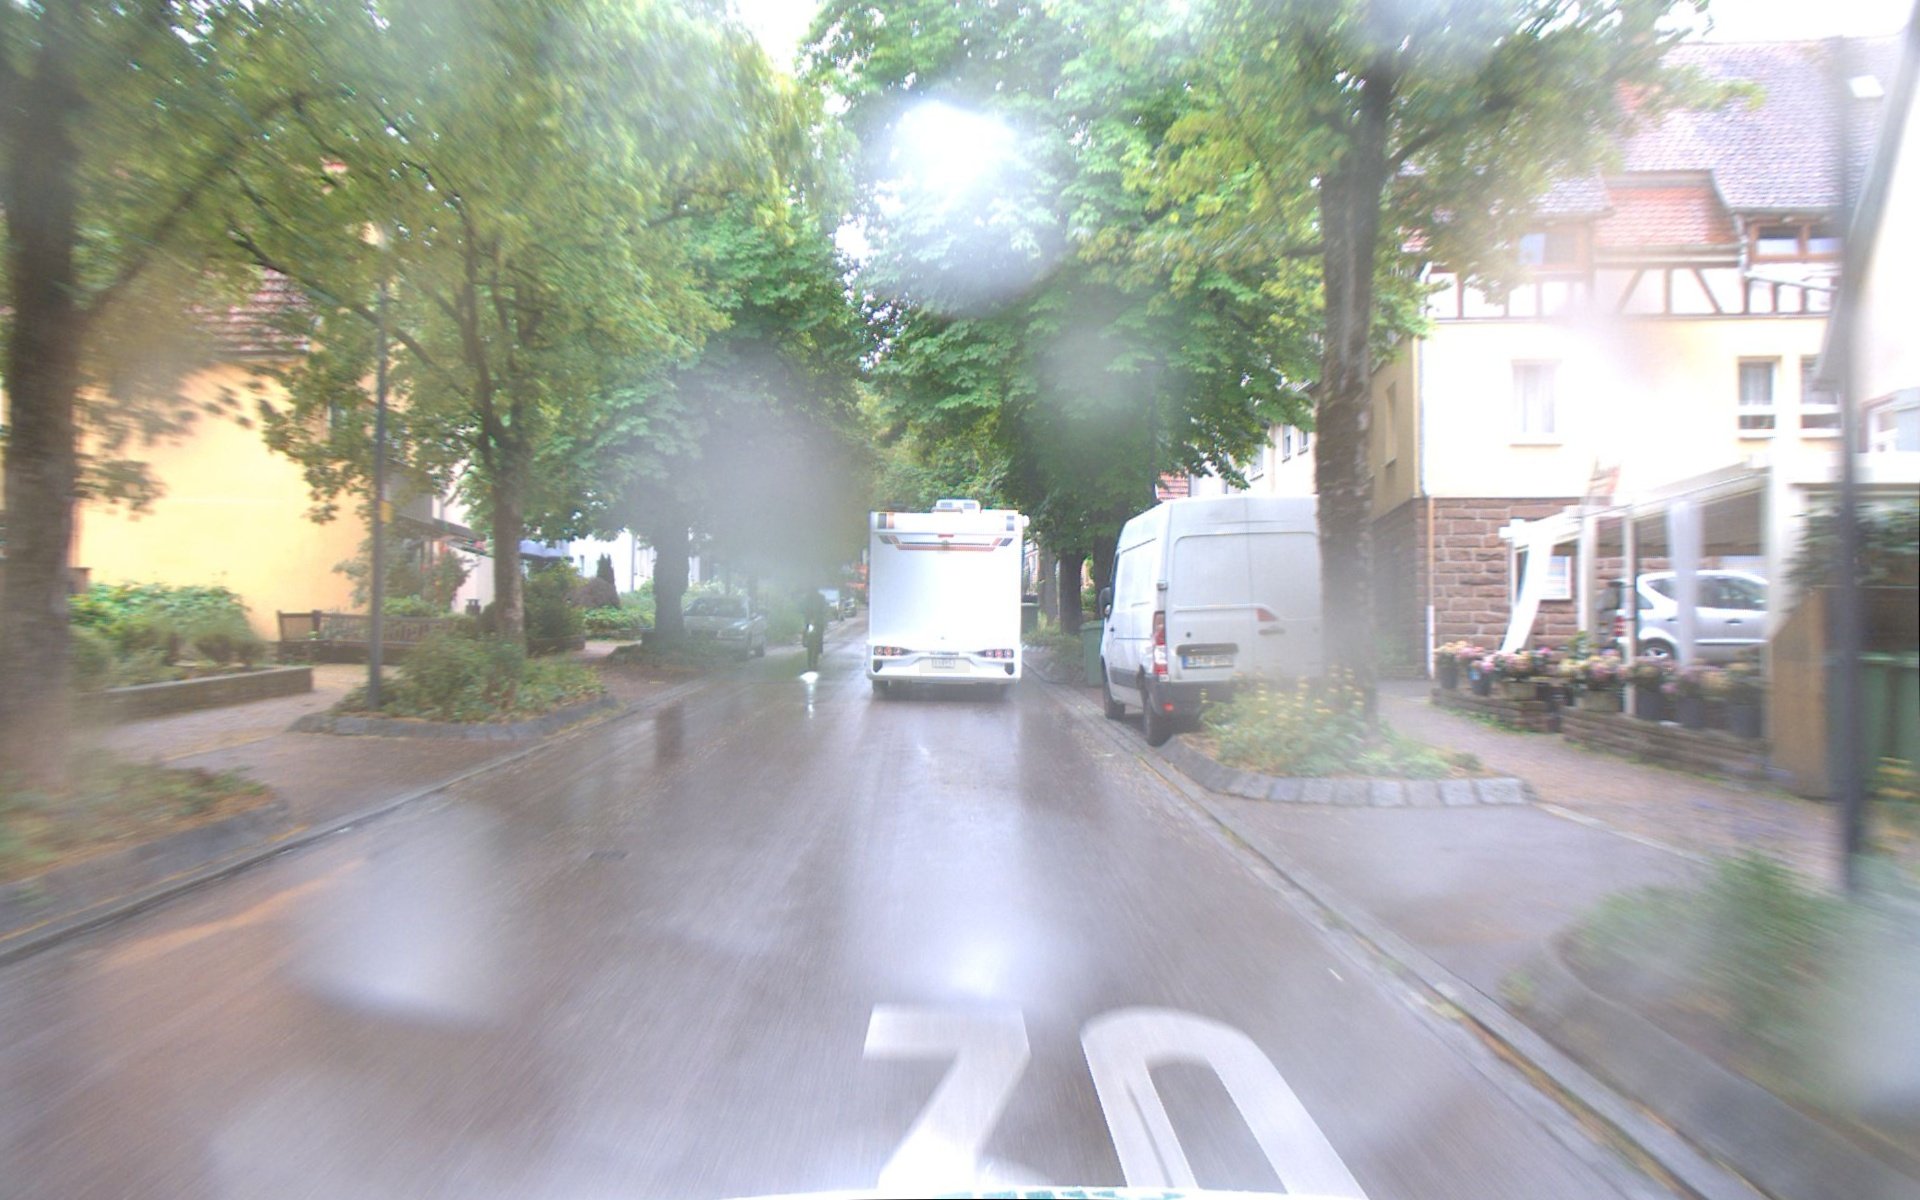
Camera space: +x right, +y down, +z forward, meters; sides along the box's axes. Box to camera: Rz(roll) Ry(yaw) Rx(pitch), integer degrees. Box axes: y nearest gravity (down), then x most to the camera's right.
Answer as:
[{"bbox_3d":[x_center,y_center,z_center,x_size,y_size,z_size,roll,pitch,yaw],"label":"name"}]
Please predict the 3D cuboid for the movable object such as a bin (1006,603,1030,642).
[{"bbox_3d":[1.686,0.640,47.786,0.631,1.101,0.540,1,0,-5],"label":"movable object such as a bin"}]

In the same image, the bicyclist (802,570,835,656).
[{"bbox_3d":[-2.955,0.270,34.521,0.614,1.761,0.880,1,0,-1],"label":"bicyclist"}]

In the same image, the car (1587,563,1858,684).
[{"bbox_3d":[11.148,0.347,24.349,3.215,1.623,1.662,-2,-1,6],"label":"car"}]

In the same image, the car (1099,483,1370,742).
[{"bbox_3d":[2.912,0.124,18.859,2.097,2.503,5.434,1,0,-1],"label":"car"}]

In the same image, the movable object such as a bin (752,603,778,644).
[{"bbox_3d":[-5.345,0.653,45.386,0.582,1.081,0.545,3,0,3],"label":"movable object such as a bin"}]

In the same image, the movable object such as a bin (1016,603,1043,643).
[{"bbox_3d":[1.906,0.636,45.605,0.674,1.101,0.540,1,0,-5],"label":"movable object such as a bin"}]

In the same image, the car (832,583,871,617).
[{"bbox_3d":[-5.532,-0.013,84.697,1.735,1.580,4.000,2,1,-1],"label":"car"}]

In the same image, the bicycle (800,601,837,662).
[{"bbox_3d":[-2.957,0.648,34.726,0.614,1.230,1.980,1,0,-1],"label":"bicycle"}]

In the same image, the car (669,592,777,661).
[{"bbox_3d":[-5.360,0.557,37.873,1.736,1.413,4.545,2,0,0],"label":"car"}]

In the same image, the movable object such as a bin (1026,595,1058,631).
[{"bbox_3d":[3.086,0.473,62.299,1.199,1.338,1.134,0,0,1],"label":"movable object such as a bin"}]

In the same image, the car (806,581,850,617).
[{"bbox_3d":[-6.024,-0.049,75.808,1.613,1.560,3.866,1,1,1],"label":"car"}]

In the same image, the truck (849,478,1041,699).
[{"bbox_3d":[-0.242,-0.157,26.087,2.640,3.038,6.235,1,0,-1],"label":"truck"}]

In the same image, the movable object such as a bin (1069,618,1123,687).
[{"bbox_3d":[2.237,0.855,27.287,0.781,1.094,0.878,1,0,-1],"label":"movable object such as a bin"}]

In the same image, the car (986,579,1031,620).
[{"bbox_3d":[2.191,-0.030,76.065,1.875,1.823,4.487,1,0,-1],"label":"car"}]

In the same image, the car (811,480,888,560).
[{"bbox_3d":[-3.103,-2.240,47.235,1.953,2.049,3.999,1,0,-1],"label":"car"}]
